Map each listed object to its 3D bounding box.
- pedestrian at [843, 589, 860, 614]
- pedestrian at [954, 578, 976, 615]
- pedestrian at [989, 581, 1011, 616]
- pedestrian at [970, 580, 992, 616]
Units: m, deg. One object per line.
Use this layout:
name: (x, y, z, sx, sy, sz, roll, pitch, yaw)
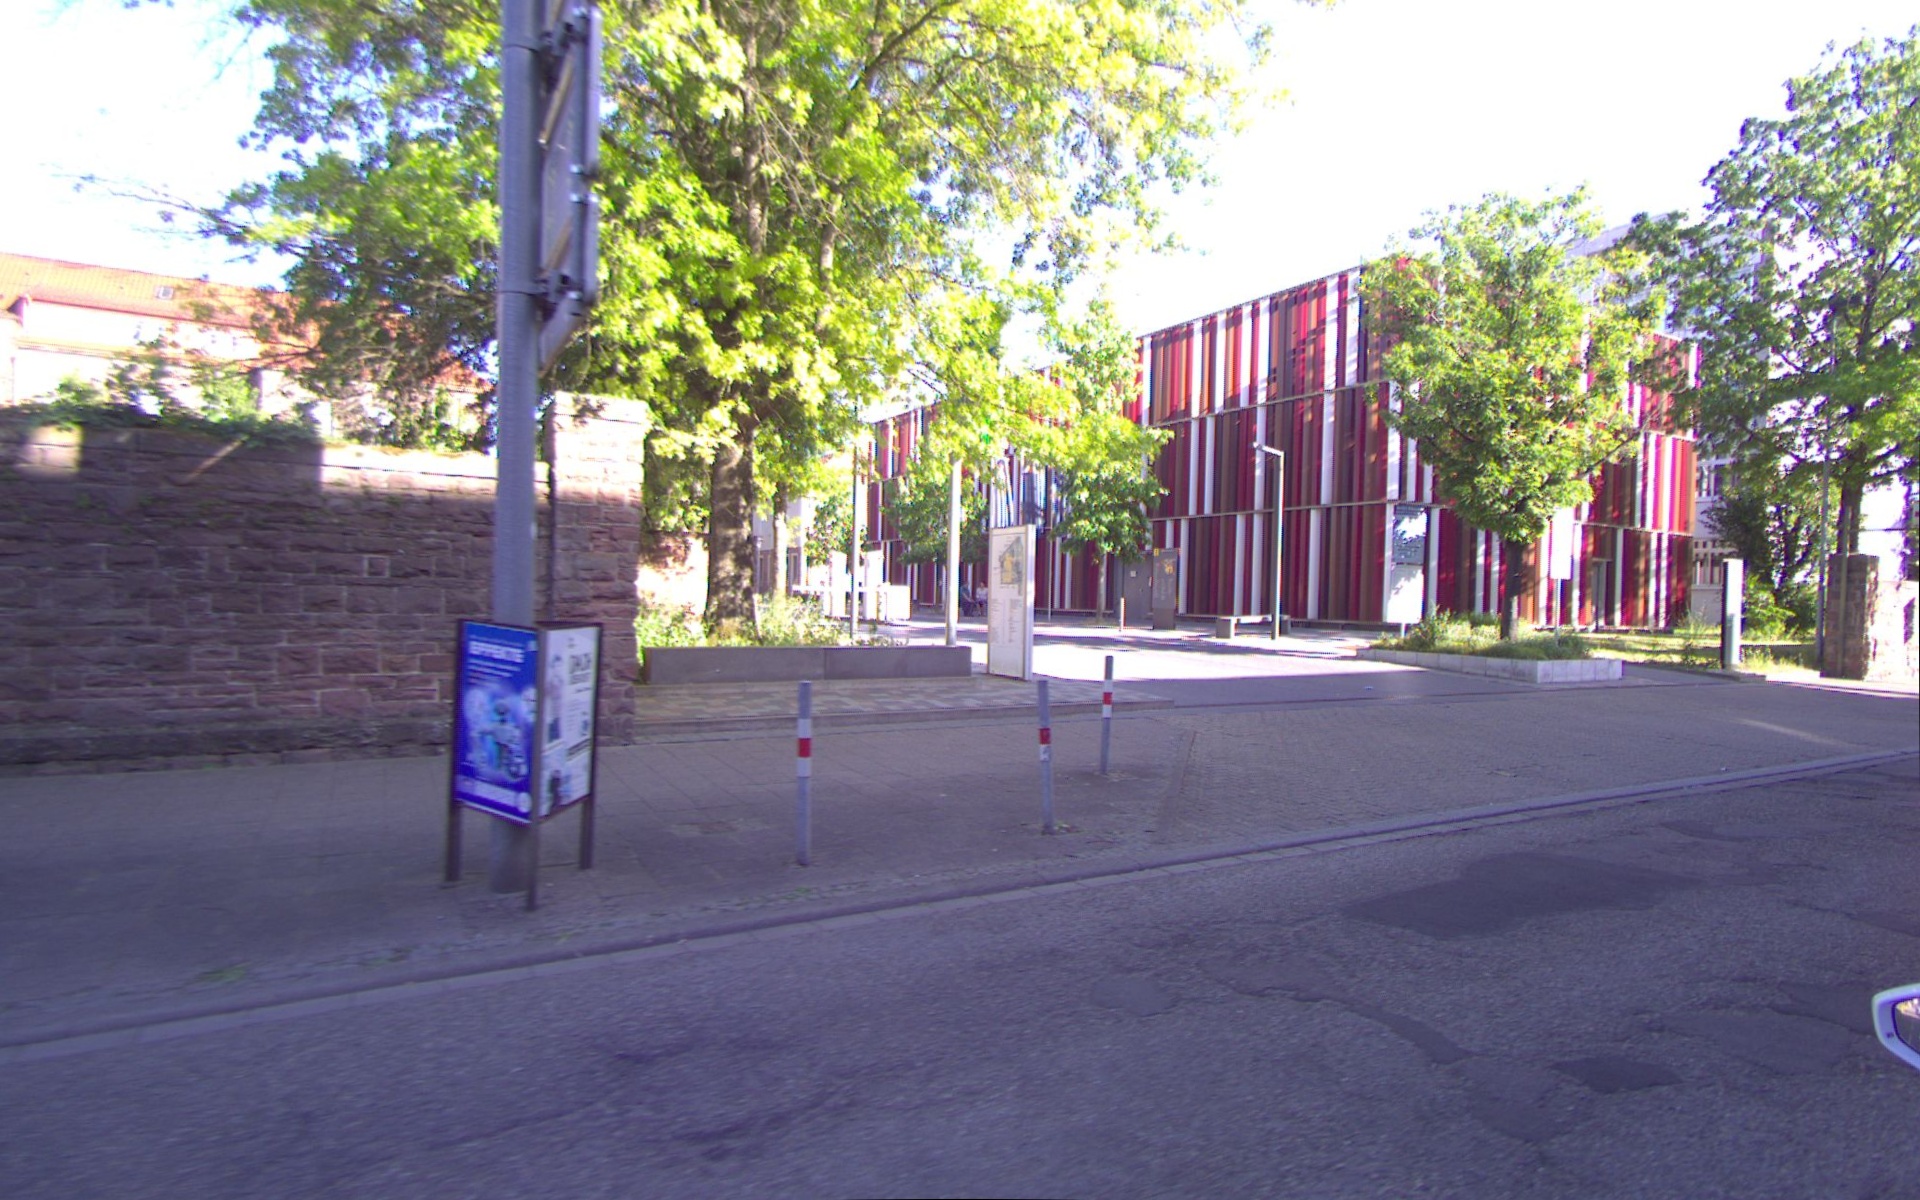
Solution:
pedestrian: (-5.287, 0.086, 49.094, 0.604, 1.192, 0.566, 1, 2, -35)
pedestrian: (0.182, -0.132, 38.644, 0.605, 1.398, 0.565, 1, 2, -37)
pedestrian: (1.575, -0.061, 39.658, 0.605, 1.371, 0.565, 0, 2, -37)
pedestrian: (0.809, -0.070, 39.036, 0.605, 1.371, 0.565, 1, 2, -37)
